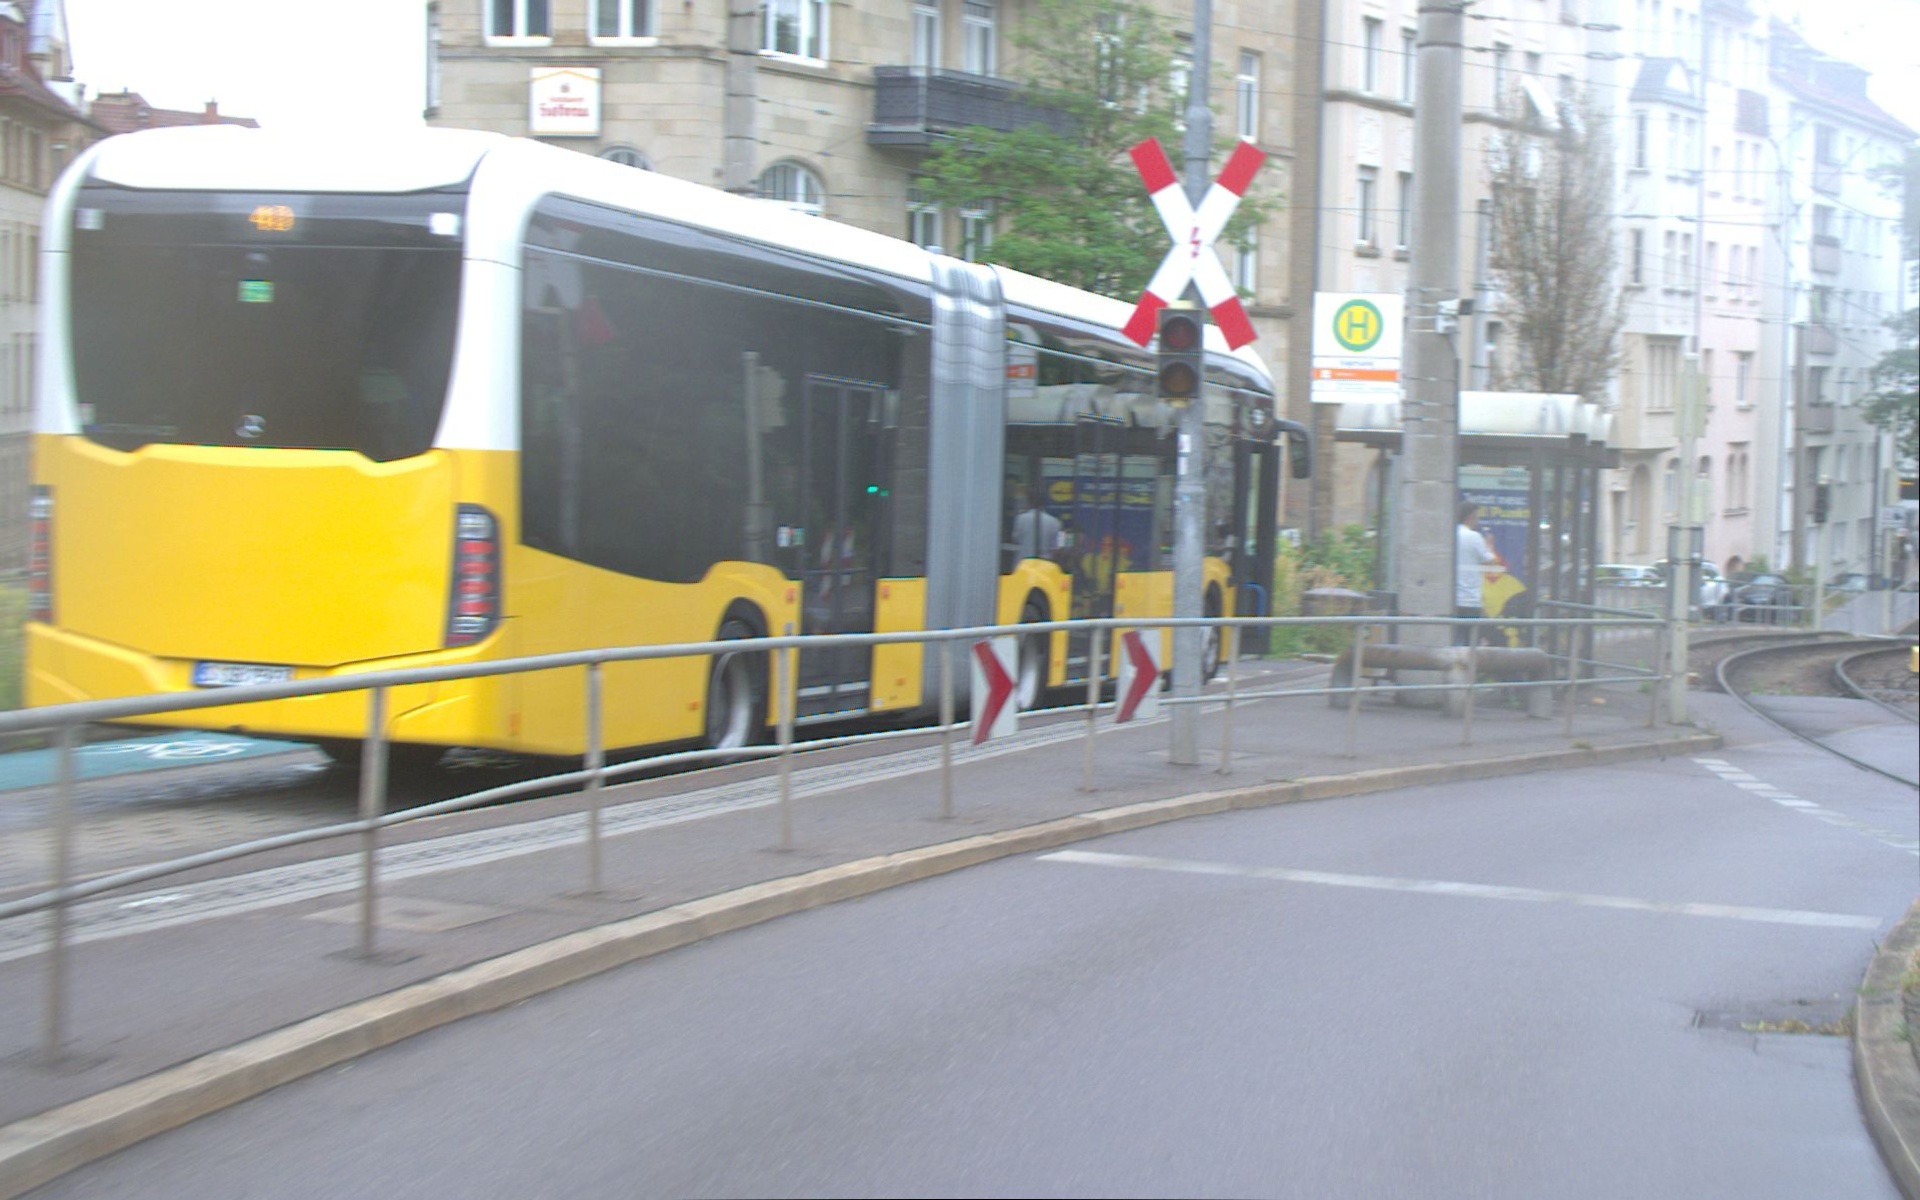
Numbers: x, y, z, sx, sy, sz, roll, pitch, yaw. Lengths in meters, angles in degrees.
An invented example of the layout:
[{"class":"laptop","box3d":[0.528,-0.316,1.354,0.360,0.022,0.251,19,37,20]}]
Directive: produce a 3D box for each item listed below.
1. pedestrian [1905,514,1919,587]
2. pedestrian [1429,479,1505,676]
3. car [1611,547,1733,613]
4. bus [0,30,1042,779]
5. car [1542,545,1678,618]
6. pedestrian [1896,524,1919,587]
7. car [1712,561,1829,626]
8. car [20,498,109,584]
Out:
[{"class":"pedestrian","box3d":[24.218,-1.243,86.821,0.562,1.844,0.598,0,0,25]},{"class":"pedestrian","box3d":[4.568,-0.206,30.979,0.576,1.746,0.543,2,0,15]},{"class":"car","box3d":[18.371,-0.521,88.577,1.926,1.617,4.528,1,1,27]},{"class":"bus","box3d":[-2.058,-0.949,20.612,2.593,3.457,9.100,2,1,18]},{"class":"car","box3d":[15.829,-0.434,83.561,1.996,1.527,4.526,5,1,26]},{"class":"pedestrian","box3d":[24.140,-1.122,87.498,0.516,1.599,0.562,0,0,25]},{"class":"car","box3d":[22.788,-0.155,96.513,1.997,1.726,4.806,1,0,28]},{"class":"car","box3d":[-23.405,-1.526,89.964,2.136,2.129,4.858,2,0,-14]}]
